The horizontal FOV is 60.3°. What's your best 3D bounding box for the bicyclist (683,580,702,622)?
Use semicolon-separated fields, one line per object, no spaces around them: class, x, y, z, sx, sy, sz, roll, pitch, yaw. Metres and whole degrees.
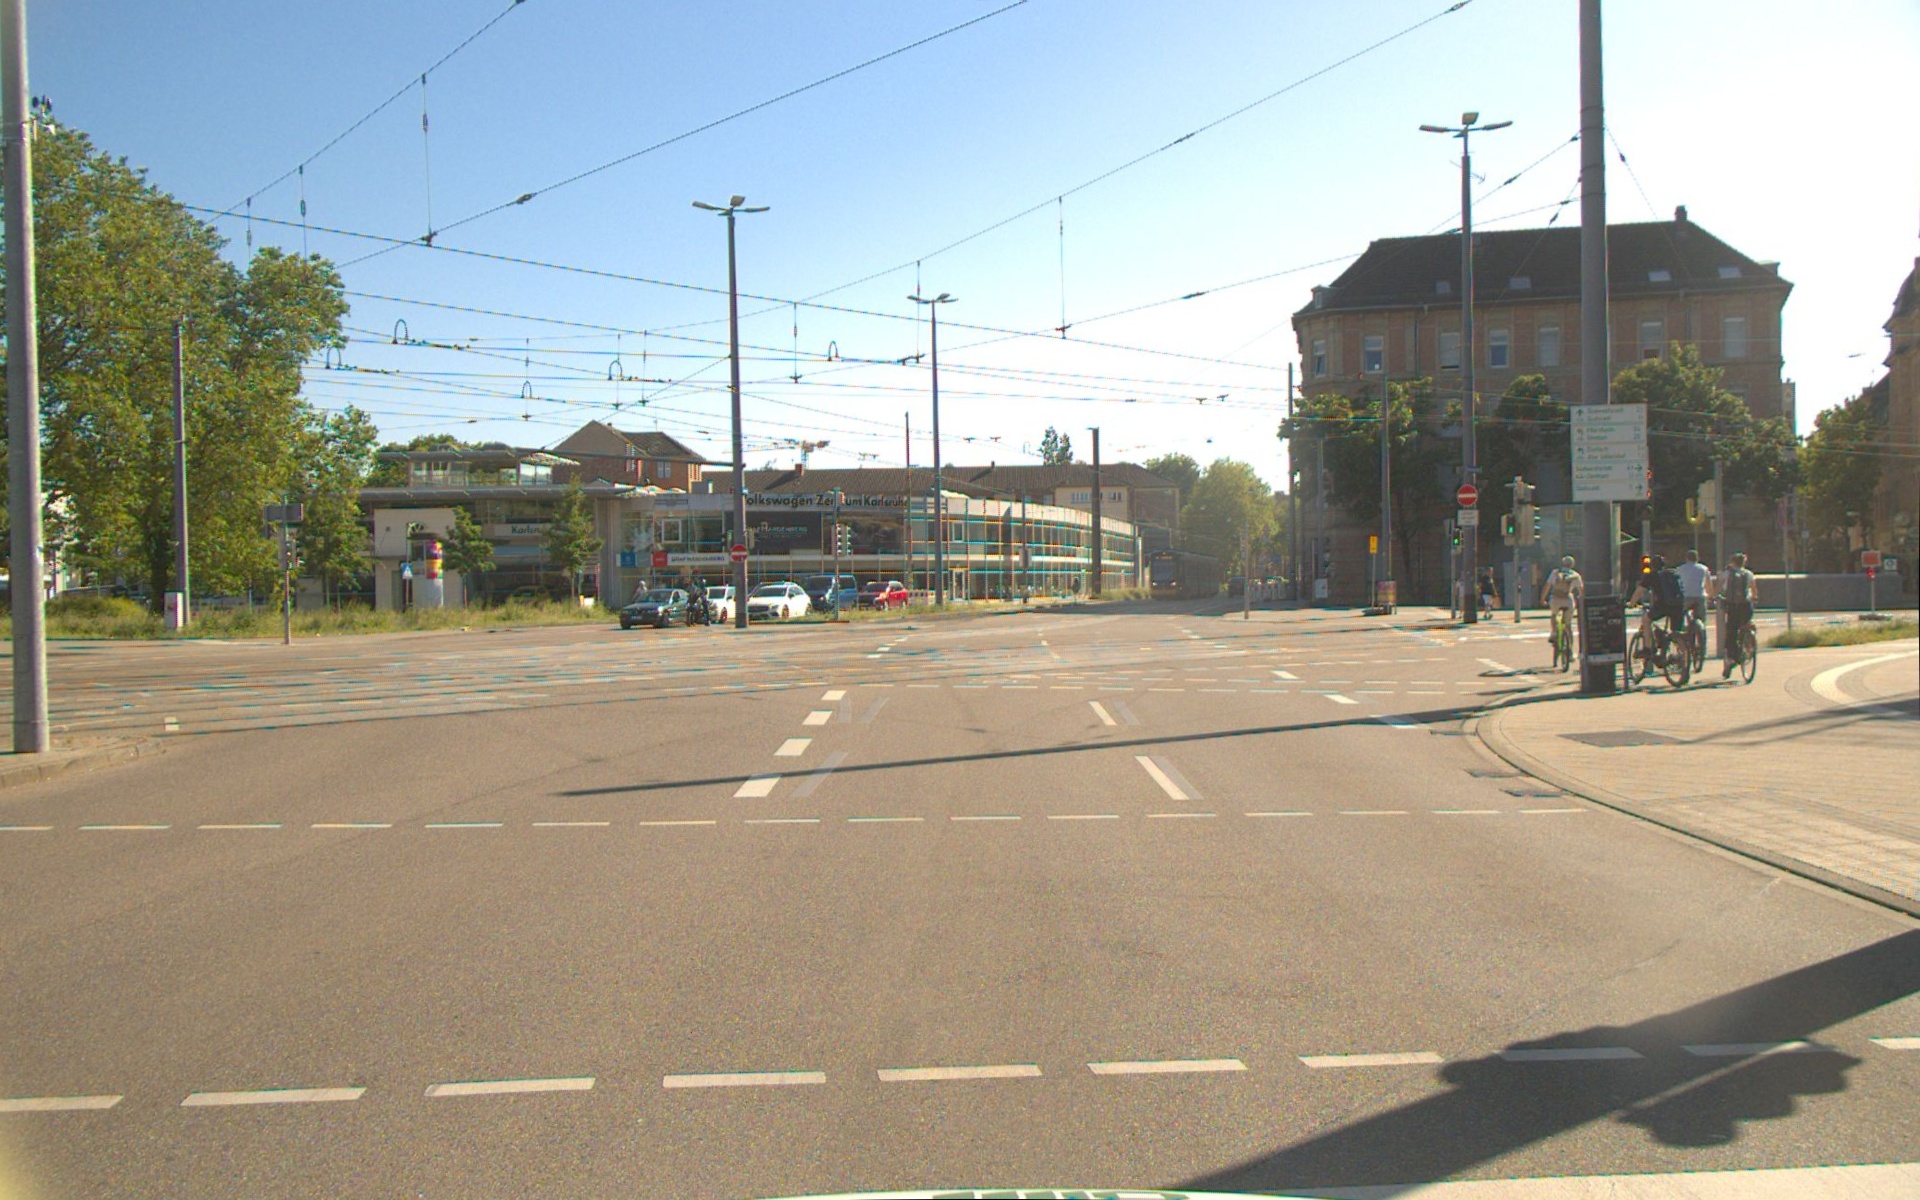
bicyclist;-11.239;0.045;69.458;0.556;1.743;0.649;-1;0;11

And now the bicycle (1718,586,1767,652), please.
bicycle;14.323;0.335;30.314;0.559;1.145;1.741;-1;0;17

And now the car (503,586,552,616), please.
car;-25.977;0.042;99.471;1.926;1.735;4.083;-1;1;-1

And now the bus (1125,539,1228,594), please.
bus;16.953;-2.383;126.679;3.756;3.670;24.880;1;0;17

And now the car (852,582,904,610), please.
car;-4.247;-0.203;86.016;1.591;1.388;3.688;-1;1;16

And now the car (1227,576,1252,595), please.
car;23.057;-1.224;136.220;1.663;1.529;4.268;-1;1;14

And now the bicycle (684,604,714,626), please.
bicycle;-9.465;0.538;60.048;0.413;0.730;1.636;-1;1;16

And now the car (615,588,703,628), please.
car;-11.013;0.264;60.696;1.667;1.378;3.703;-1;1;16

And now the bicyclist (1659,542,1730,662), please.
bicyclist;11.490;0.025;25.902;0.731;1.809;0.925;-2;0;6

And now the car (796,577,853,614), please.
car;-6.426;-0.239;78.856;1.591;1.722;3.689;-1;1;14

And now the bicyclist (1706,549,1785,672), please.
bicyclist;10.790;0.135;22.740;0.670;1.626;0.978;-3;0;10

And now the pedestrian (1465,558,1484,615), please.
pedestrian;18.601;-0.480;59.775;0.453;2.049;0.449;-1;1;-18

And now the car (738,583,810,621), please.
car;-7.237;0.071;64.826;1.591;1.406;3.741;-1;1;14

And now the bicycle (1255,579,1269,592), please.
bicycle;20.925;-1.042;114.663;0.727;0.885;1.932;-1;0;17

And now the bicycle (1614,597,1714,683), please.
bicycle;9.758;0.534;22.999;0.612;1.133;1.851;-2;0;2

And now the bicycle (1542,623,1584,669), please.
bicycle;10.041;0.751;27.578;0.525;0.667;1.727;-3;0;17

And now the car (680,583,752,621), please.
car;-9.789;0.050;66.670;1.591;1.448;3.689;-1;1;14

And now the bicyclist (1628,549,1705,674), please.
bicyclist;9.738;0.161;22.828;0.612;1.666;0.995;-2;0;1

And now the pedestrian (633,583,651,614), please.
pedestrian;-12.862;-0.070;66.869;0.414;1.225;0.681;-1;0;18

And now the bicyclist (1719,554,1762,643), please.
bicyclist;14.340;-0.026;30.404;0.559;1.596;0.947;-1;0;17

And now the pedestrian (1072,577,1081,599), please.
pedestrian;9.314;-0.978;131.918;0.531;1.718;0.630;-1;0;19

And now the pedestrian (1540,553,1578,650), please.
pedestrian;9.984;0.023;27.584;0.537;1.590;0.858;-1;0;17

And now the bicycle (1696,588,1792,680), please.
bicycle;10.818;0.447;22.885;0.670;1.184;1.885;-3;0;10

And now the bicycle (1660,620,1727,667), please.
bicycle;11.448;0.673;25.863;0.525;0.667;1.469;-2;1;6

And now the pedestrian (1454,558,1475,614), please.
pedestrian;18.374;-0.515;60.248;0.564;2.049;0.449;-1;1;-19

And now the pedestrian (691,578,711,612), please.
pedestrian;-9.431;-0.196;60.232;0.413;1.225;0.750;-1;0;16
